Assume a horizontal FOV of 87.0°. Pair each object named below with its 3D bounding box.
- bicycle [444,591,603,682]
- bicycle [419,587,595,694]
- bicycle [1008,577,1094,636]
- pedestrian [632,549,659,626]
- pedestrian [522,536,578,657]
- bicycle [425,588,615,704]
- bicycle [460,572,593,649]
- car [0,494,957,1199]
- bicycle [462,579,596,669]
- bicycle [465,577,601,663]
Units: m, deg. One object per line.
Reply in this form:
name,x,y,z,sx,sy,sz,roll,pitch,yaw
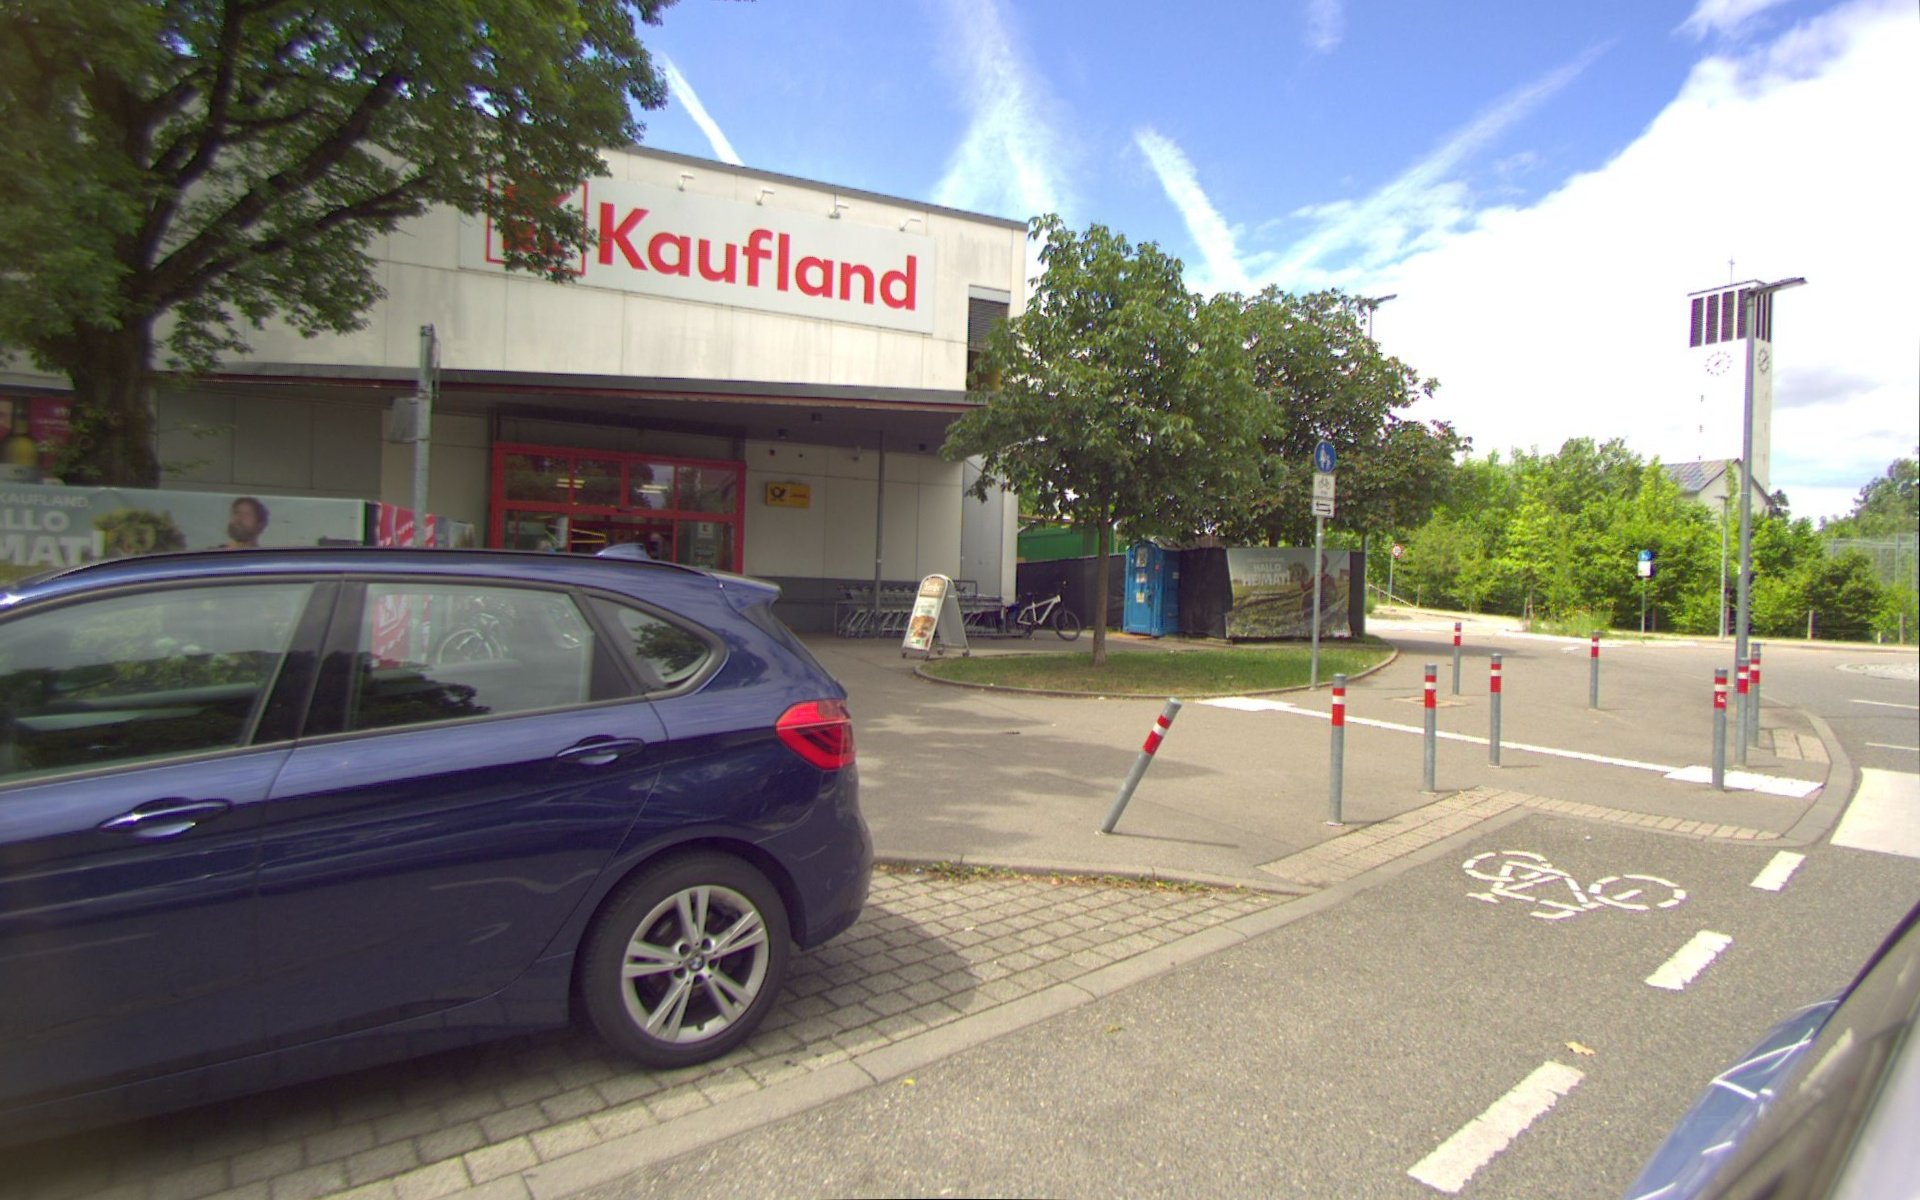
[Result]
bicycle,-5.404,0.429,12.546,1.764,1.053,0.522,0,1,-28
bicycle,-5.095,0.447,11.455,1.737,1.170,0.502,1,0,-7
bicycle,1.983,0.133,22.197,1.761,1.249,0.706,1,0,35
pedestrian,-6.602,-0.268,21.238,0.485,1.586,0.628,1,0,-20
pedestrian,-6.197,-0.066,15.336,0.732,1.778,0.626,1,3,-18
bicycle,-4.576,0.468,10.609,1.753,1.170,0.452,1,0,-11
bicycle,-6.832,0.166,16.034,1.873,1.170,0.531,0,0,-18
car,-2.362,0.525,3.162,4.344,1.597,1.924,0,2,-33
bicycle,-5.795,0.311,13.667,1.627,1.170,0.427,0,0,-21
bicycle,-6.017,0.280,14.311,1.730,1.170,0.441,0,0,-23
